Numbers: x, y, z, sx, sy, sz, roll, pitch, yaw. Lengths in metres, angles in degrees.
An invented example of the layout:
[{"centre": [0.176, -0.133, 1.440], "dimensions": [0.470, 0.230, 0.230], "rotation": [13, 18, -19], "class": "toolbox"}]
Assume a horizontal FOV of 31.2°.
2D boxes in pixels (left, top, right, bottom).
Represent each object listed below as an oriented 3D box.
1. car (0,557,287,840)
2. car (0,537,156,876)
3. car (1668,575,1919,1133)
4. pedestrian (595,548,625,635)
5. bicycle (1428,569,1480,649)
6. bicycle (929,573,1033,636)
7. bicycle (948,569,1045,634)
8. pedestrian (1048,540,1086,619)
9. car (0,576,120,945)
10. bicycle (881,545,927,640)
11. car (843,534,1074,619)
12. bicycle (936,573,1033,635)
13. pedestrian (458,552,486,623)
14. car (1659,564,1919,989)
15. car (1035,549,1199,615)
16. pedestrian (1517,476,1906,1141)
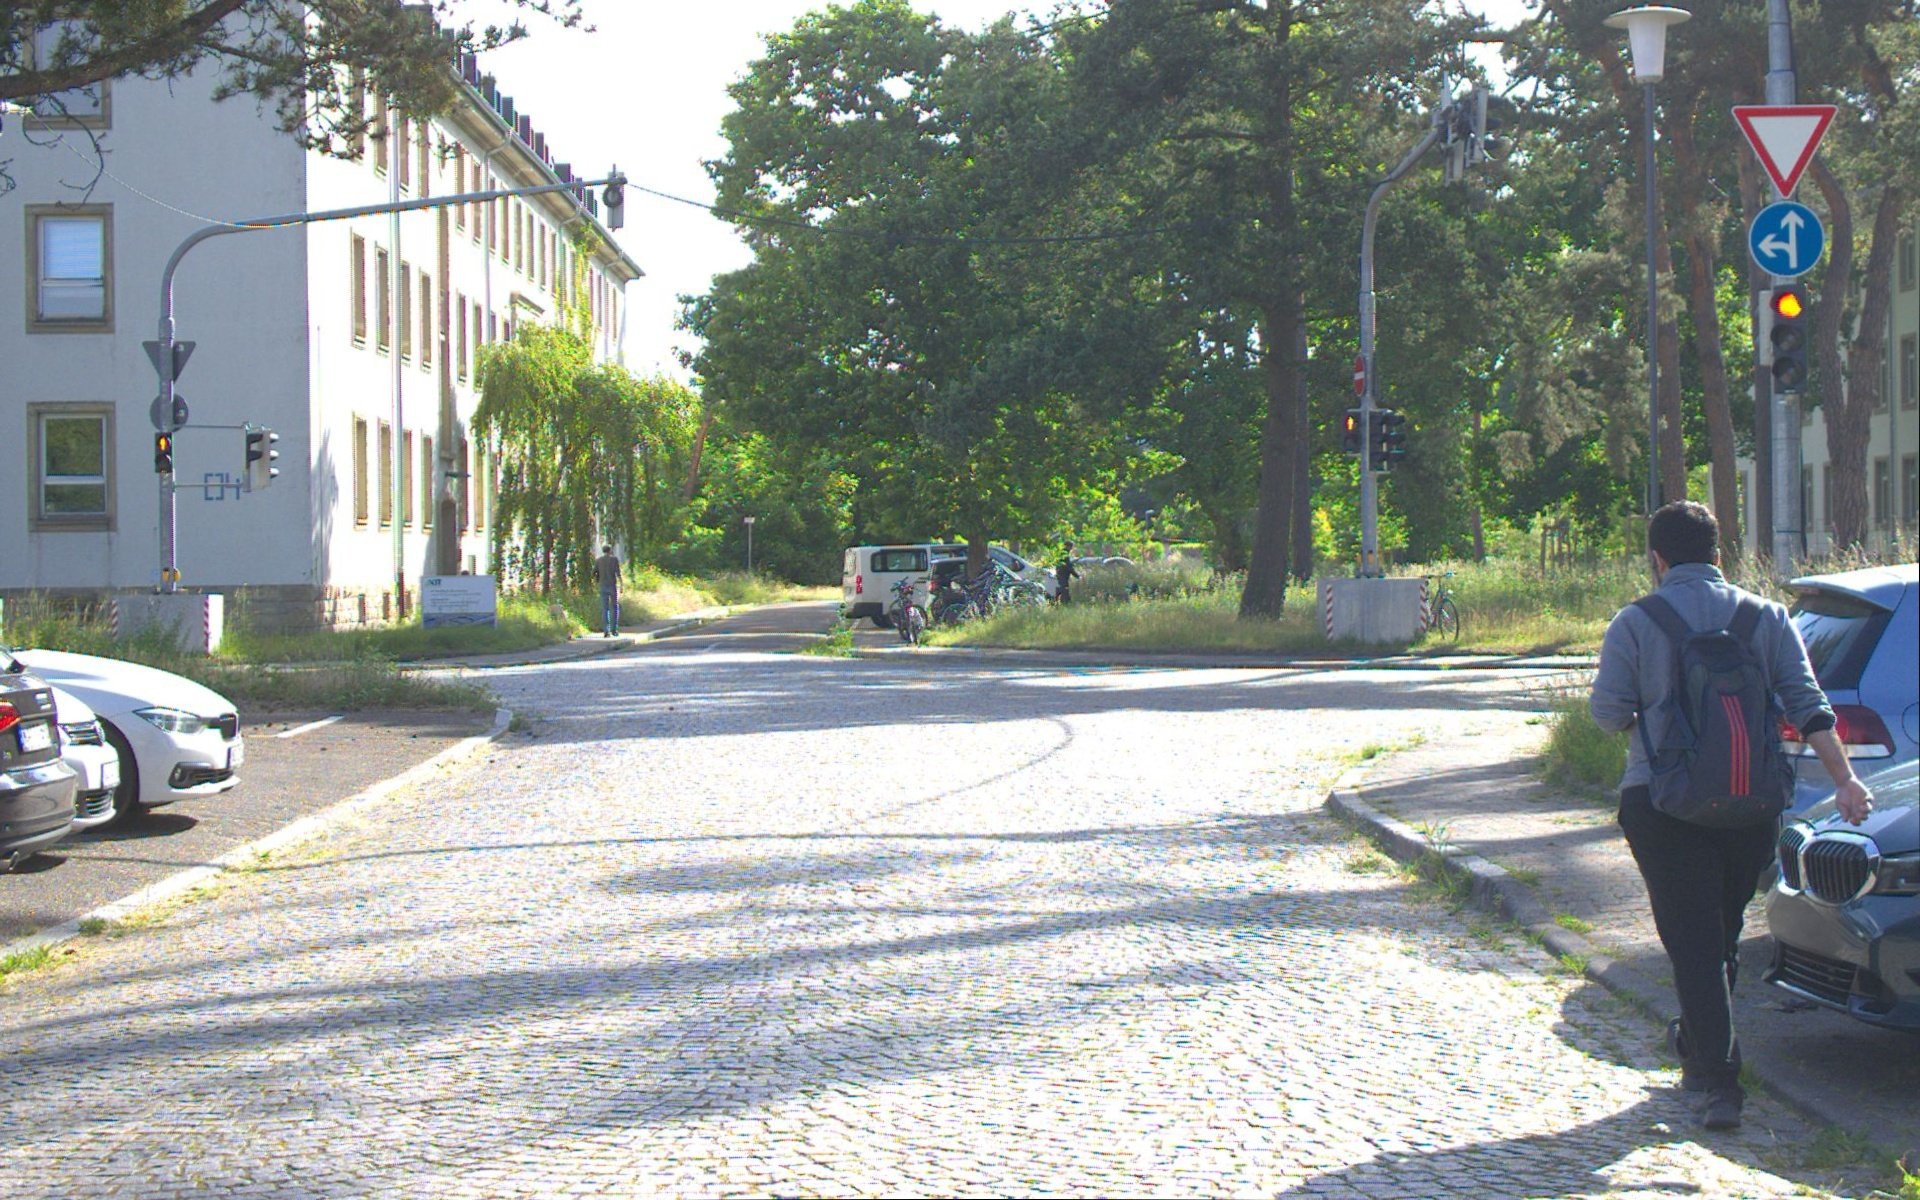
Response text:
[{"centre": [-6.117, 0.489, 19.917], "dimensions": [3.987, 1.491, 1.772], "rotation": [2, 1, 4], "class": "car"}, {"centre": [-6.201, 0.447, 17.332], "dimensions": [3.879, 1.610, 1.661], "rotation": [2, 1, -2], "class": "car"}, {"centre": [4.666, 0.593, 10.272], "dimensions": [4.619, 1.450, 1.870], "rotation": [-2, 1, -3], "class": "car"}, {"centre": [-7.003, -0.177, 68.808], "dimensions": [0.606, 1.746, 0.630], "rotation": [0, 1, -6], "class": "pedestrian"}, {"centre": [7.176, 0.121, 49.873], "dimensions": [0.722, 1.111, 2.583], "rotation": [0, 1, 9], "class": "bicycle"}, {"centre": [0.378, 0.072, 61.731], "dimensions": [1.834, 1.108, 0.495], "rotation": [0, 1, -4], "class": "bicycle"}, {"centre": [0.664, 0.020, 62.958], "dimensions": [1.727, 1.160, 0.561], "rotation": [0, 1, -4], "class": "bicycle"}, {"centre": [2.426, -0.475, 77.933], "dimensions": [0.759, 1.777, 0.684], "rotation": [0, 1, -8], "class": "pedestrian"}, {"centre": [-5.753, 0.550, 14.565], "dimensions": [3.937, 1.440, 1.691], "rotation": [3, 1, -2], "class": "car"}, {"centre": [-0.957, -0.137, 58.151], "dimensions": [0.753, 1.575, 2.537], "rotation": [0, 1, -1], "class": "bicycle"}, {"centre": [-0.049, -0.553, 79.643], "dimensions": [5.065, 1.911, 2.001], "rotation": [0, 1, -10], "class": "car"}, {"centre": [0.438, 0.065, 62.276], "dimensions": [1.727, 1.108, 0.484], "rotation": [0, 1, -4], "class": "bicycle"}, {"centre": [-10.728, -0.271, 75.609], "dimensions": [0.606, 1.554, 0.545], "rotation": [0, 1, -7], "class": "pedestrian"}, {"centre": [4.637, 0.563, 12.810], "dimensions": [3.673, 1.438, 1.665], "rotation": [-2, 1, -1], "class": "car"}, {"centre": [3.803, -0.447, 83.573], "dimensions": [3.743, 1.574, 1.742], "rotation": [0, 1, -8], "class": "car"}, {"centre": [2.068, 0.551, 9.566], "dimensions": [0.753, 1.719, 0.828], "rotation": [4, 1, -1], "class": "pedestrian"}]
